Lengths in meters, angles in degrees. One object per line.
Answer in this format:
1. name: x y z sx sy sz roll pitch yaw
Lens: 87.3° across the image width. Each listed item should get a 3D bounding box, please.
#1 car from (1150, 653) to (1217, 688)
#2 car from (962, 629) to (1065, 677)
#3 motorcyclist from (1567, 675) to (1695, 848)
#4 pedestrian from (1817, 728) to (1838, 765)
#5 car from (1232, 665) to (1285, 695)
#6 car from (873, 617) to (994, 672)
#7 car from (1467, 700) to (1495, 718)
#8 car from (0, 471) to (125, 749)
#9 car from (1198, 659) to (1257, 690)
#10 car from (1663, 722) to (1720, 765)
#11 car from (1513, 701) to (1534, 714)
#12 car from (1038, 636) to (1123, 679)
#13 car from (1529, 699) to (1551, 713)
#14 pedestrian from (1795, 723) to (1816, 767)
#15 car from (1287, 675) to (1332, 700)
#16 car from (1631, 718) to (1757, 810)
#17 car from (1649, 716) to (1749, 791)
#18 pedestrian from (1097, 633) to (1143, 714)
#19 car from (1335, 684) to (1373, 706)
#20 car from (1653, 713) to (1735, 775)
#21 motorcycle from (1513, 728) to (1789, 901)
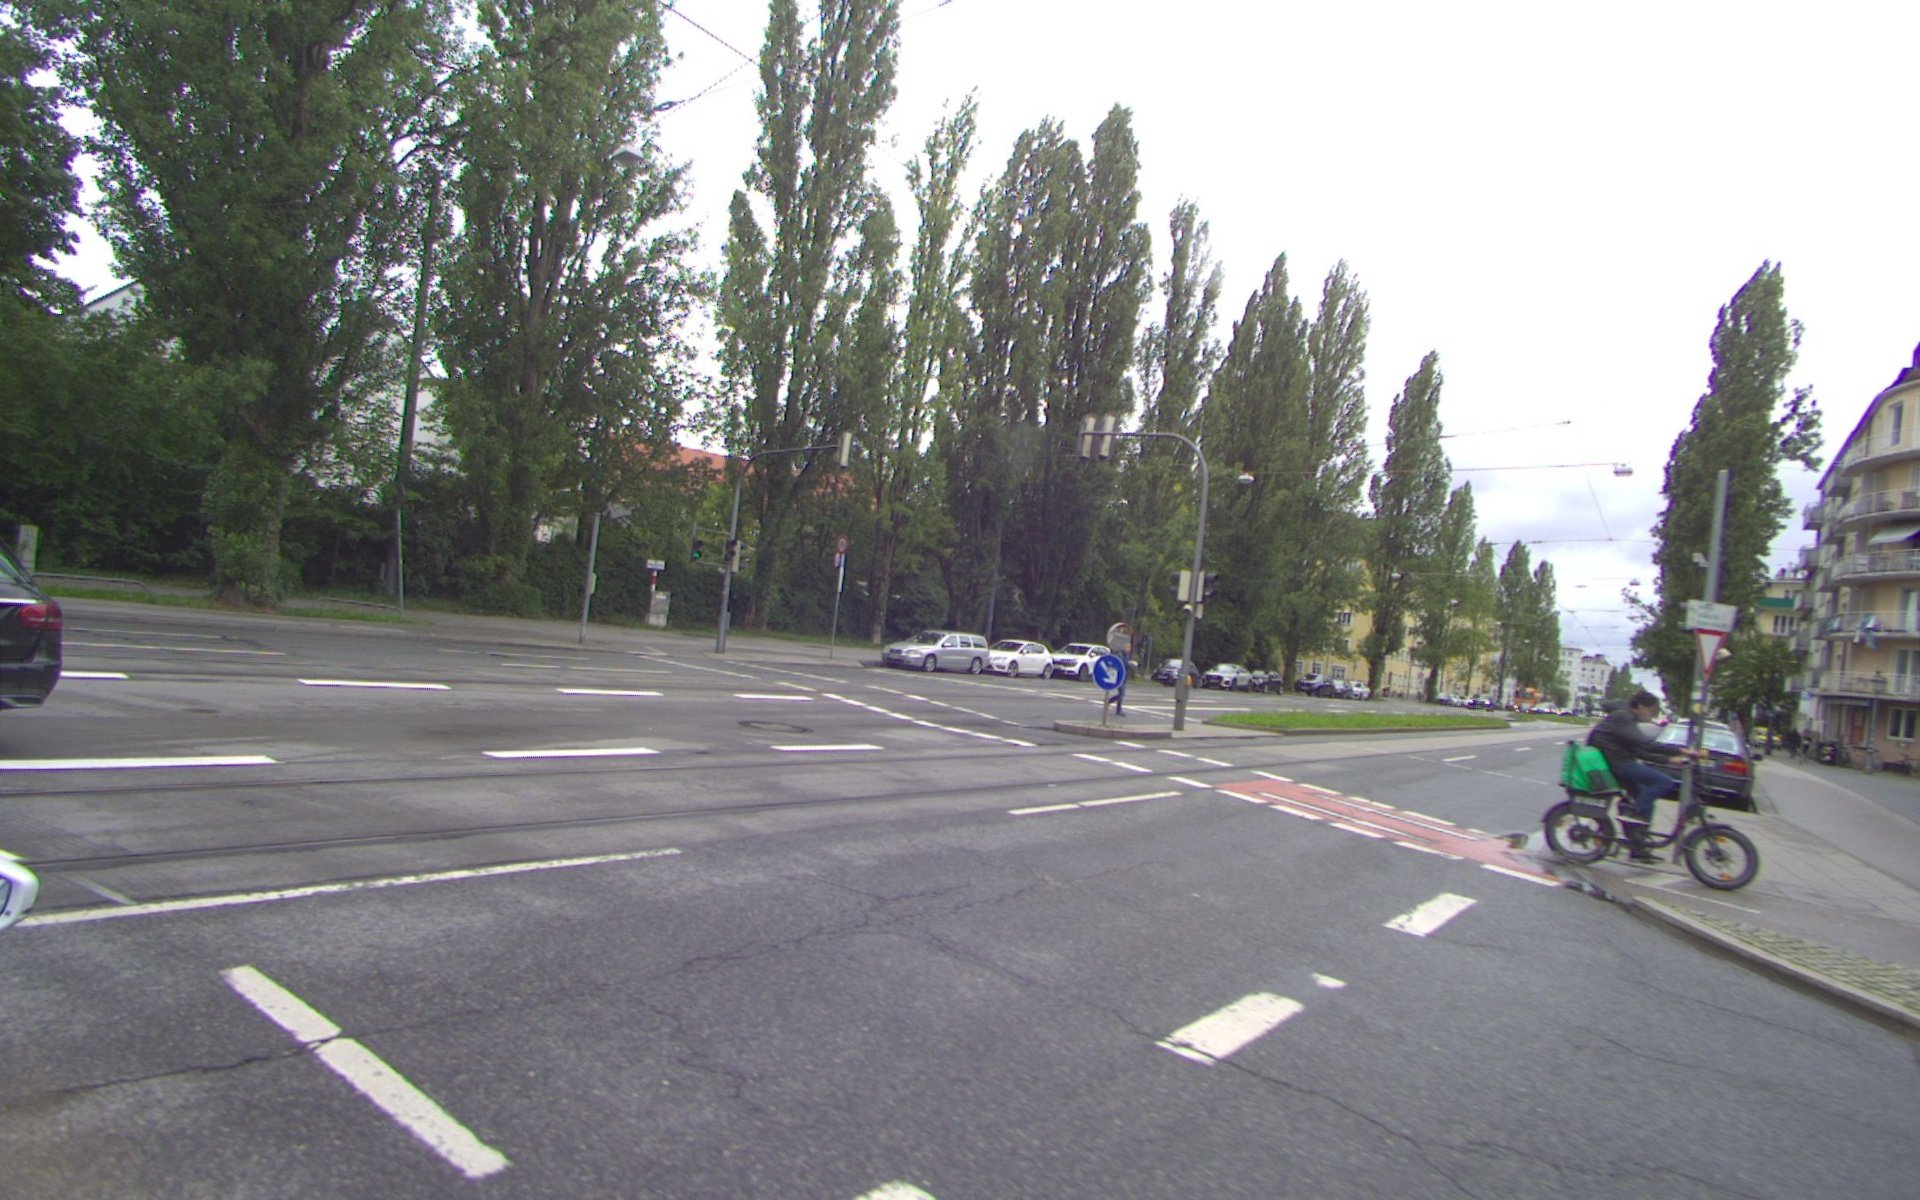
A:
1. car: 11.691 3.700 52.515 1.760 1.503 4.127 6 -2 37
2. car: 2.156 2.112 39.604 1.761 1.503 4.242 6 -2 40
3. motorcyclist: 6.382 1.512 9.577 0.868 1.459 0.619 6 -2 36
4. pedestrian: 40.997 6.911 47.552 0.537 1.683 0.651 6 -2 32
5. car: 18.621 5.010 62.743 1.760 1.503 4.127 6 -2 37
6. car: -0.857 1.600 35.184 1.760 1.503 4.338 6 -2 38
7. car: 52.188 10.904 100.790 1.760 1.503 4.127 6 -2 37
8. car: -7.695 -0.240 5.743 4.613 1.567 1.872 7 -1 11
9. car: 15.495 4.327 58.183 1.760 1.503 4.127 6 -2 37
10. car: 30.240 5.878 41.591 1.704 1.424 4.462 6 -2 36
11. car: 74.657 14.281 133.265 1.760 1.503 4.127 6 -2 37
12. car: 5.300 2.540 43.826 1.760 1.503 4.127 6 -2 37
13. car: 71.487 13.039 123.896 1.760 1.503 4.127 6 -2 37
14. pedestrian: 40.810 6.974 48.560 0.537 2.036 0.630 6 -2 32
15. car: 25.158 6.294 72.312 1.760 1.503 4.127 6 -2 37
16. car: 14.219 3.085 19.549 1.704 1.331 3.988 6 -2 36
17. car: 18.114 3.678 24.714 1.704 1.424 4.362 6 -2 36
18. pedestrian: 3.543 1.624 22.358 0.690 1.681 0.551 7 -2 -9
19. car: 31.987 7.738 81.581 1.760 1.503 4.127 6 -2 37
20. car: 21.430 4.142 29.408 1.704 1.424 4.362 6 -2 36
21. motorcycle: 6.441 1.955 9.483 1.998 1.182 0.629 5 -3 37
